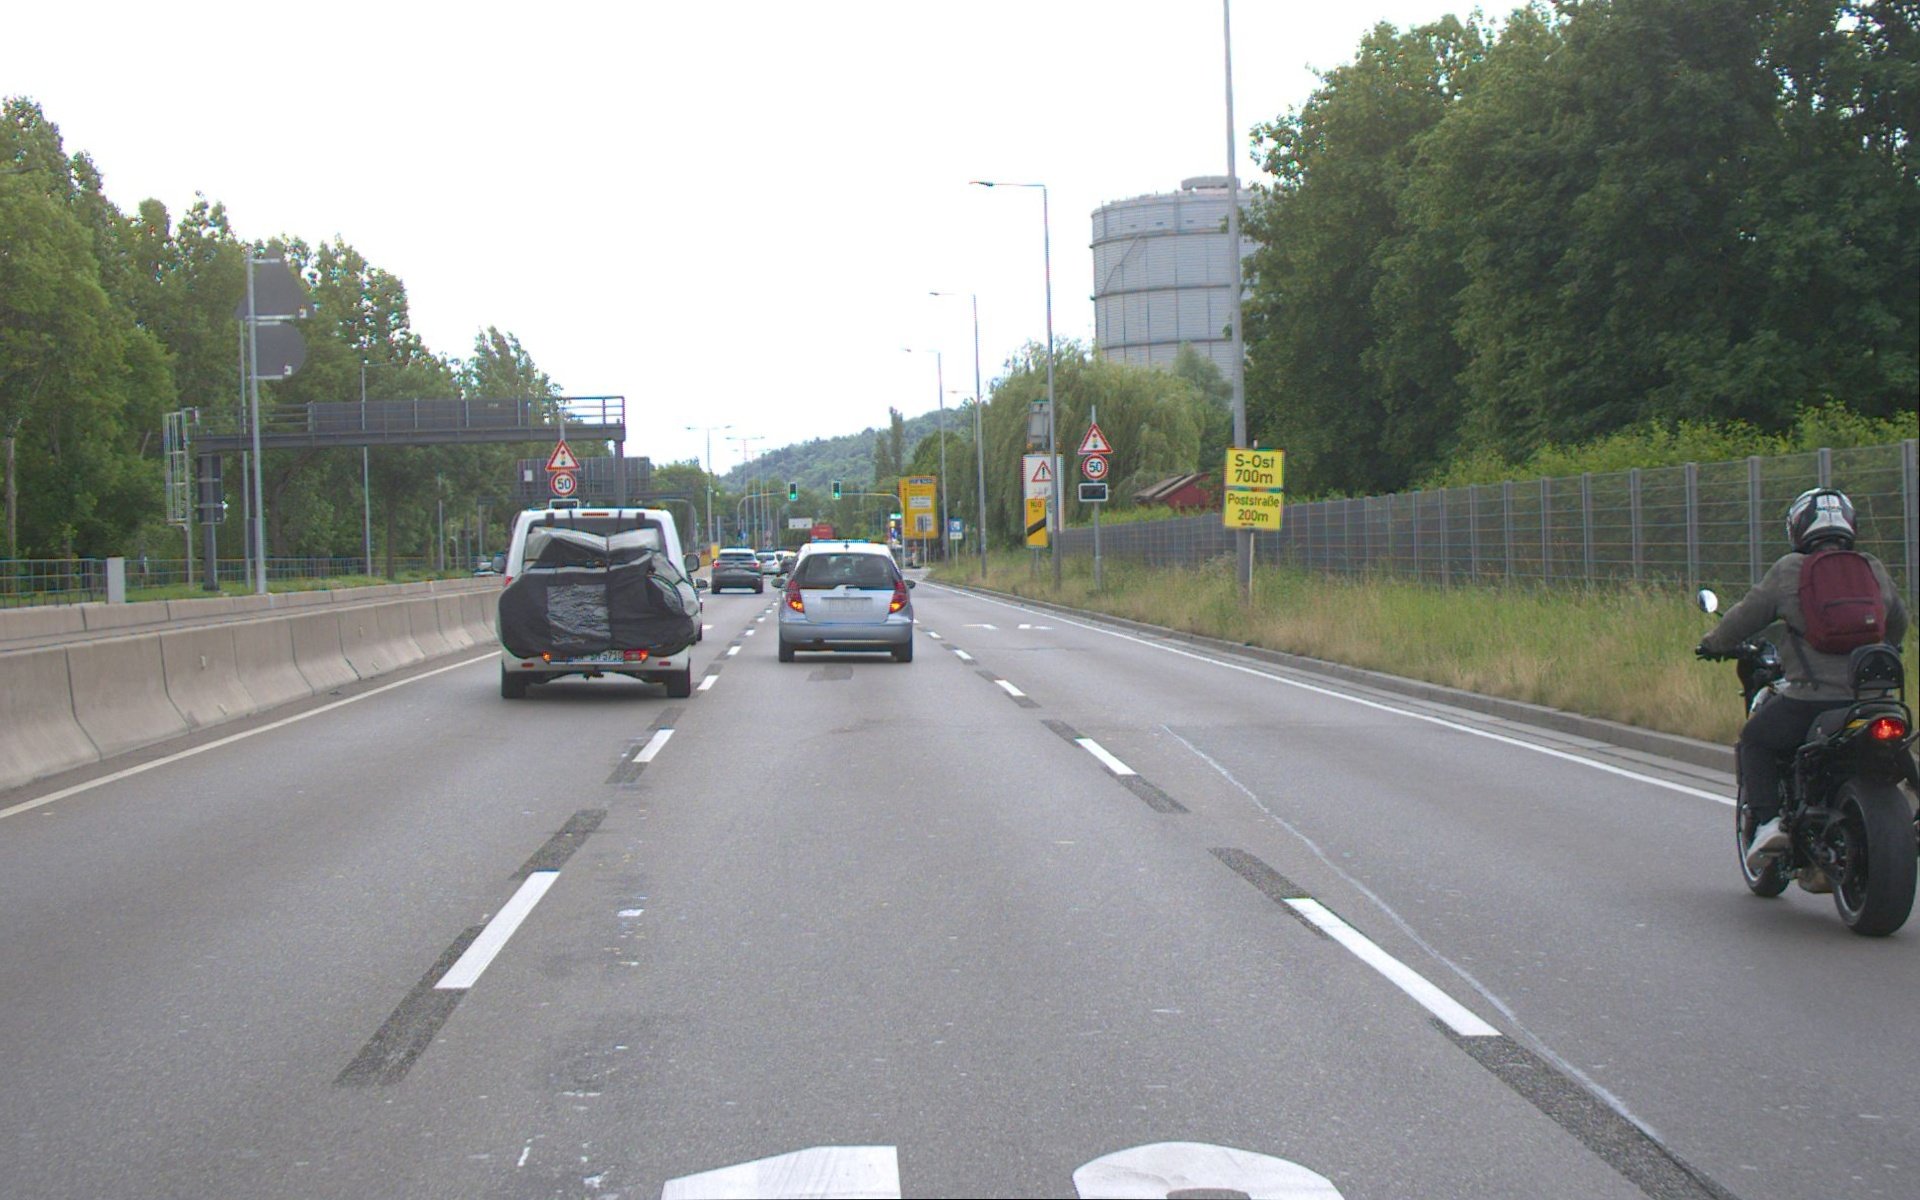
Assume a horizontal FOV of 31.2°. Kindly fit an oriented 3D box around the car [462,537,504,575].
[{"bbox_3d":[-25.733,-2.399,185.531,1.993,2.007,4.001,1,1,-4],"label":"car"}]

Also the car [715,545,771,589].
[{"bbox_3d":[-7.878,-1.213,124.944,1.993,1.546,4.001,1,1,-3],"label":"car"}]

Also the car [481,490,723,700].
[{"bbox_3d":[-3.597,-0.082,34.436,2.214,1.919,5.003,1,1,-6],"label":"car"}]

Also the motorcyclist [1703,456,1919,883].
[{"bbox_3d":[3.349,0.258,13.411,0.684,1.604,0.845,1,1,0],"label":"motorcyclist"}]

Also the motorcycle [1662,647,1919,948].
[{"bbox_3d":[3.340,0.734,13.533,0.706,1.036,2.027,1,1,-1],"label":"motorcycle"}]

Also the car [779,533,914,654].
[{"bbox_3d":[-1.546,-0.105,46.040,1.710,1.525,4.001,1,1,-3],"label":"car"}]

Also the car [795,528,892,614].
[{"bbox_3d":[-2.392,-0.605,70.518,1.907,1.678,4.000,1,1,-2],"label":"car"}]
